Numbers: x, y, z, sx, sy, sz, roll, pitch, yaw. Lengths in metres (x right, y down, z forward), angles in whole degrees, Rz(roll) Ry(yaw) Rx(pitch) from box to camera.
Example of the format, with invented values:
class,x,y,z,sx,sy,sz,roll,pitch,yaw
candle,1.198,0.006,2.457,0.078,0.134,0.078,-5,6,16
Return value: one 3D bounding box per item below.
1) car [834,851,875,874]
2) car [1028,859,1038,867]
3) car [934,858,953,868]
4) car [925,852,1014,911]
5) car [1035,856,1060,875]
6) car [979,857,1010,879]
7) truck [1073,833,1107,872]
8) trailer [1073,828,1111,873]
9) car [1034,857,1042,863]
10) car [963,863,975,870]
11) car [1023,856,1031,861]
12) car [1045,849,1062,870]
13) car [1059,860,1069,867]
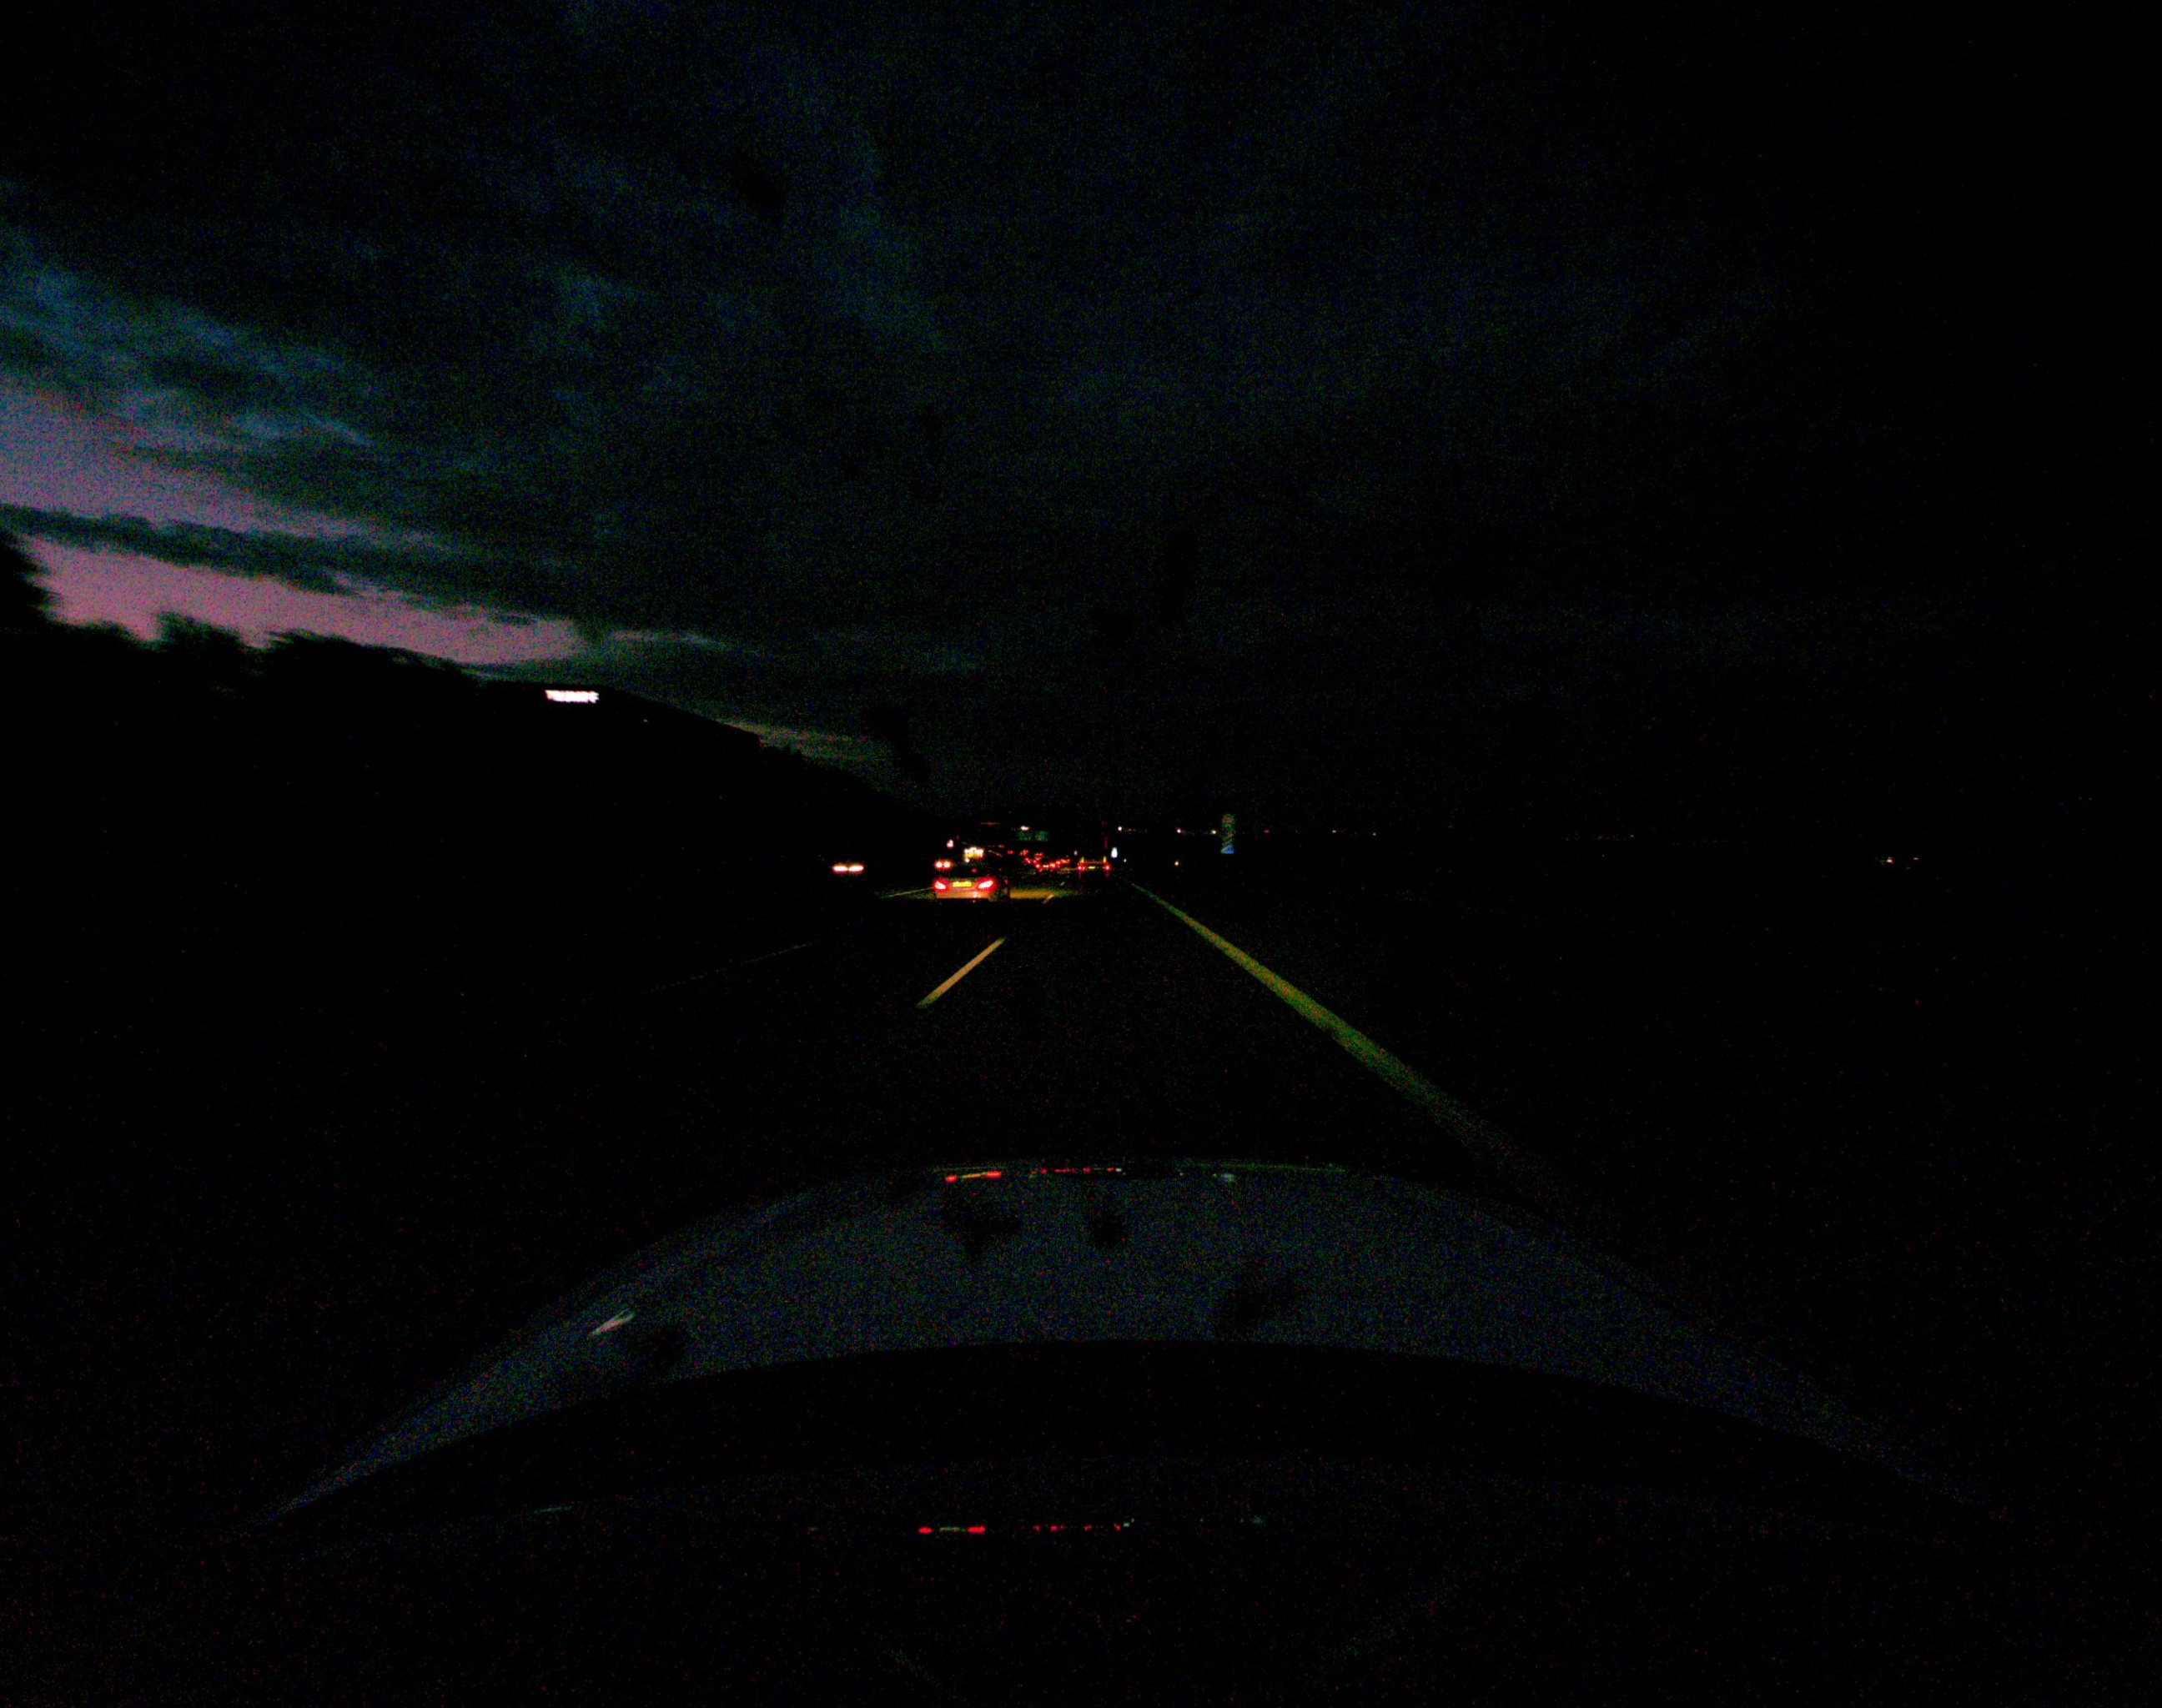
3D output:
class,x,y,z,sx,sy,sz,roll,pitch,yaw
car,-18.577,0.686,67.134,1.987,1.791,4.840,0,-1,0
car,-10.048,1.944,169.546,1.991,1.622,3.991,0,-1,-6
car,-19.735,1.311,117.114,1.987,1.453,3.834,0,-1,0
car,-3.281,0.786,24.956,1.899,1.614,4.805,0,-1,2
car,-2.969,1.030,73.219,2.059,1.686,4.574,0,-1,-1
car,-6.247,0.992,59.323,1.756,1.575,4.575,0,-1,0
truck,0.944,-0.125,90.381,3.540,4.091,6.149,-1,-1,-1
trailer,0.963,-0.251,82.762,3.539,4.116,15.057,-1,-1,0
car,-12.981,1.766,243.745,1.993,1.622,3.987,0,-1,-9
car,-21.918,2.376,159.373,1.830,1.336,4.904,0,-1,-3
car,-14.514,1.271,220.001,1.992,1.468,3.990,0,-1,-7
car,-3.172,0.637,94.004,1.989,2.380,3.996,0,-1,-2
car,-3.680,2.059,176.408,1.989,1.534,3.996,0,-1,-3
